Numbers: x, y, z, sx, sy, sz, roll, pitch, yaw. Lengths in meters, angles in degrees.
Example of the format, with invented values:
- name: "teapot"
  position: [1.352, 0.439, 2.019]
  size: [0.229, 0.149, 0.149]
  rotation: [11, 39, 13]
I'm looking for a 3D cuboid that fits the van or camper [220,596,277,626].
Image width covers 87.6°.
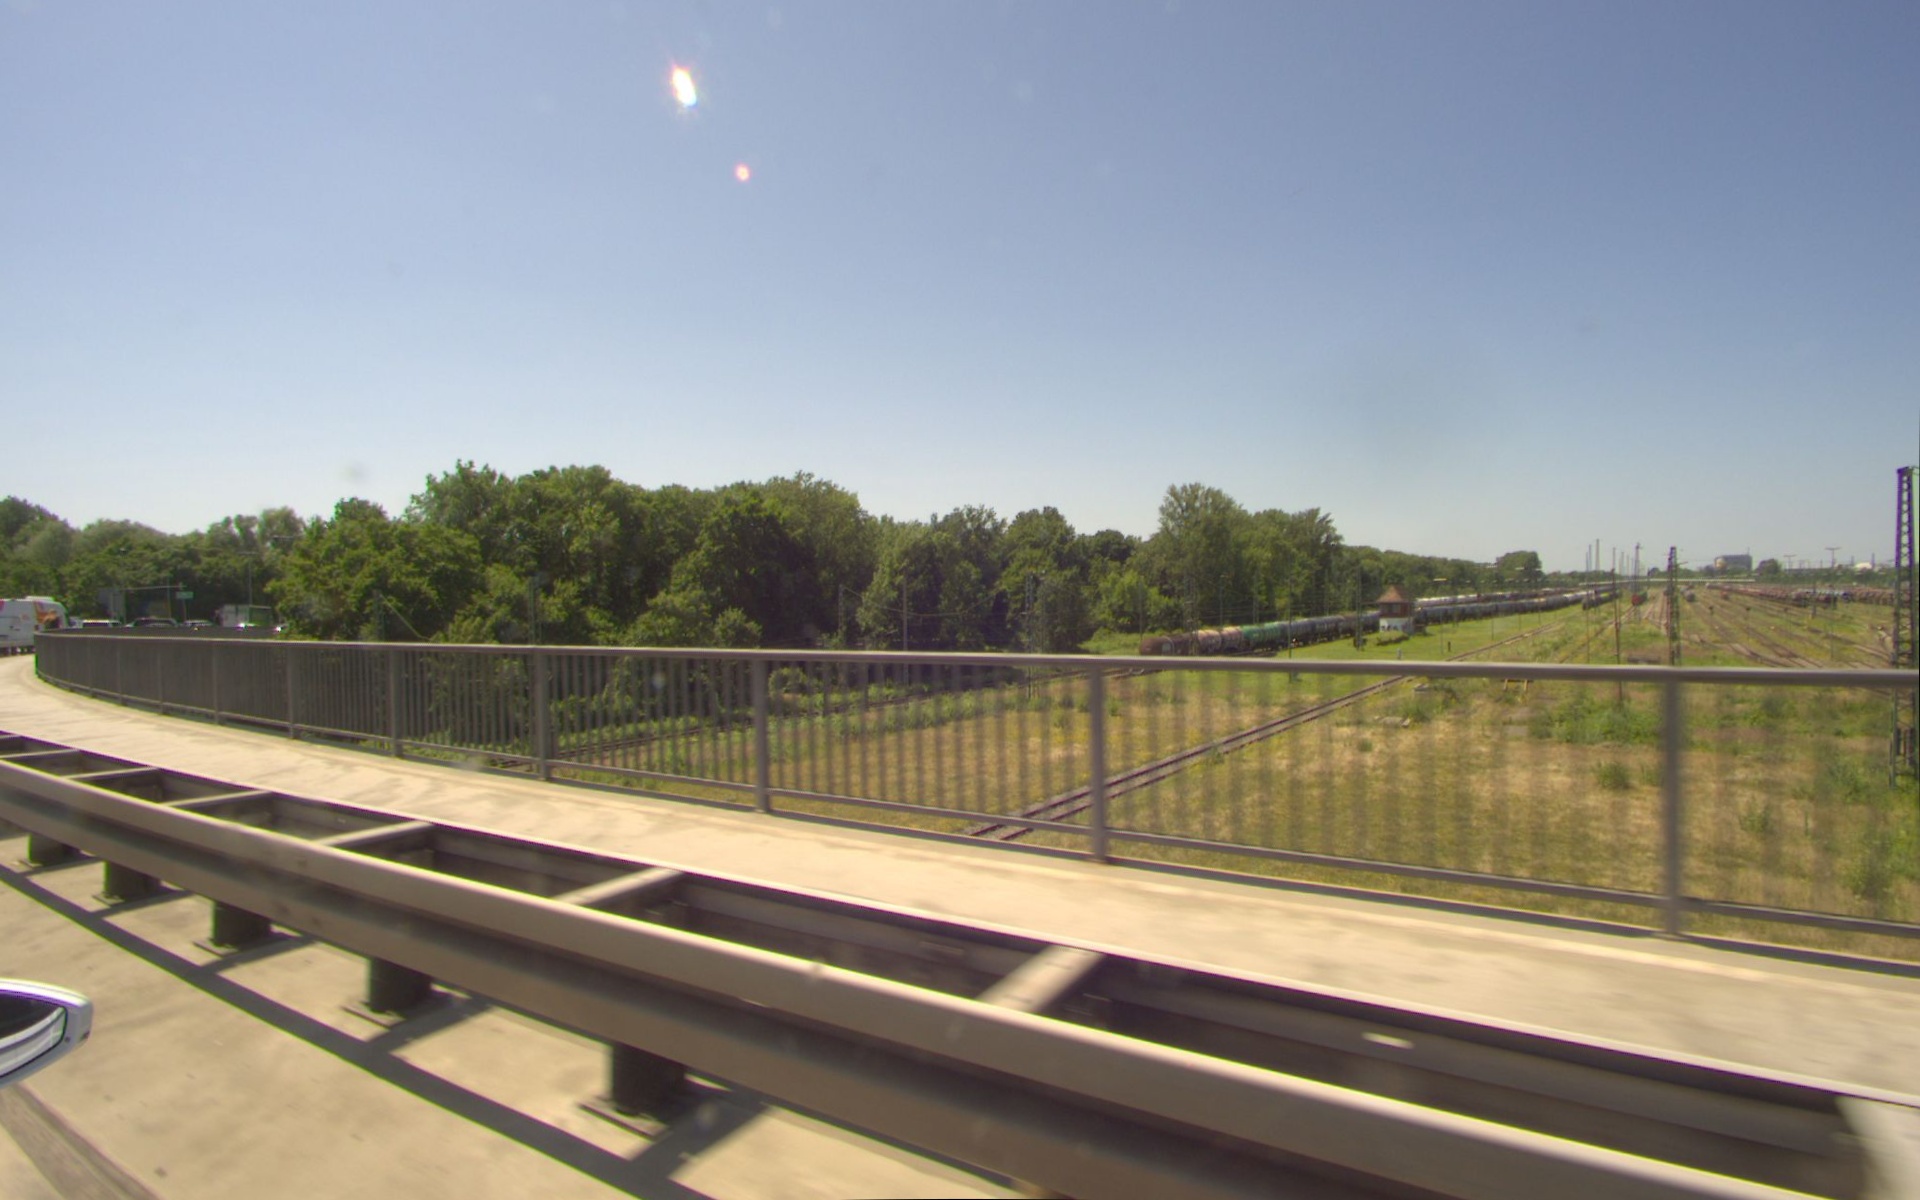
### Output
- name: "van or camper"
  position: [-67.191, 1.085, 94.682]
  size: [2.447, 2.318, 4.962]
  rotation: [5, -6, -12]

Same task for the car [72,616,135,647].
- name: "car"
  position: [-52.630, 1.949, 61.610]
  size: [1.865, 1.873, 3.987]
  rotation: [1, -2, -25]

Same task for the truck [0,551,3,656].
- name: "truck"
  position: [-42.144, 0.027, 41.082]
  size: [3.141, 4.643, 7.345]
  rotation: [1, -2, -36]

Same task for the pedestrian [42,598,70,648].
- name: "pedestrian"
  position: [-36.147, 0.932, 40.043]
  size: [0.730, 1.992, 0.729]
  rotation: [1, -1, -35]

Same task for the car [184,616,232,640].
- name: "car"
  position: [-60.016, 2.247, 80.026]
  size: [1.862, 1.873, 3.993]
  rotation: [1, -2, -19]

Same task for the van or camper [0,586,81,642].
- name: "van or camper"
  position: [-48.192, 0.748, 52.122]
  size: [2.177, 2.746, 5.900]
  rotation: [1, -1, -27]
